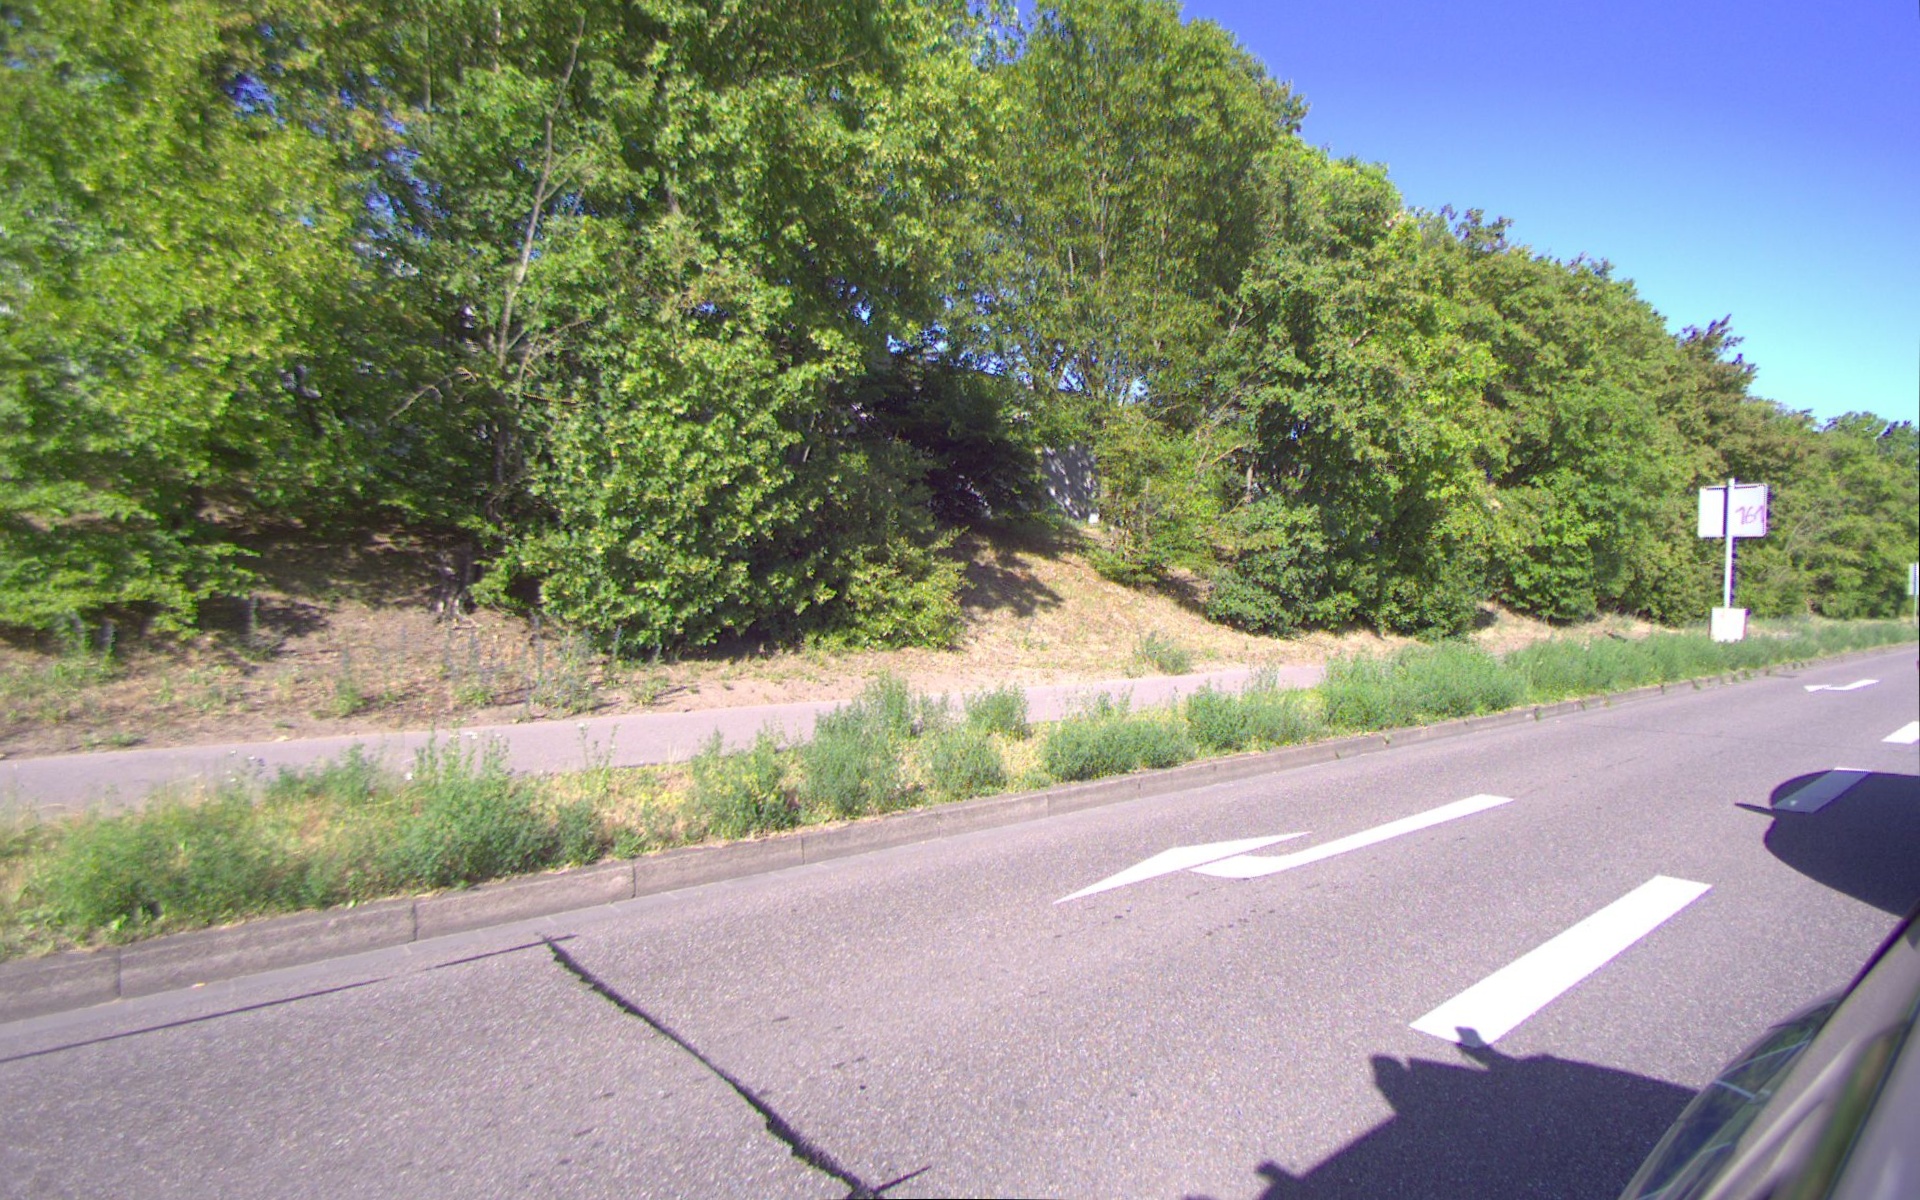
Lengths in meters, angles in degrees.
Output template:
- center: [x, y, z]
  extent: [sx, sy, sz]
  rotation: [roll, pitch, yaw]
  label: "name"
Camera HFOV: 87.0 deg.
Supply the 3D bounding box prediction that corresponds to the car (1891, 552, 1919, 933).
- center: [6.228, 0.619, 4.958]
  extent: [4.026, 1.631, 2.023]
  rotation: [0, 0, -41]
  label: "car"
